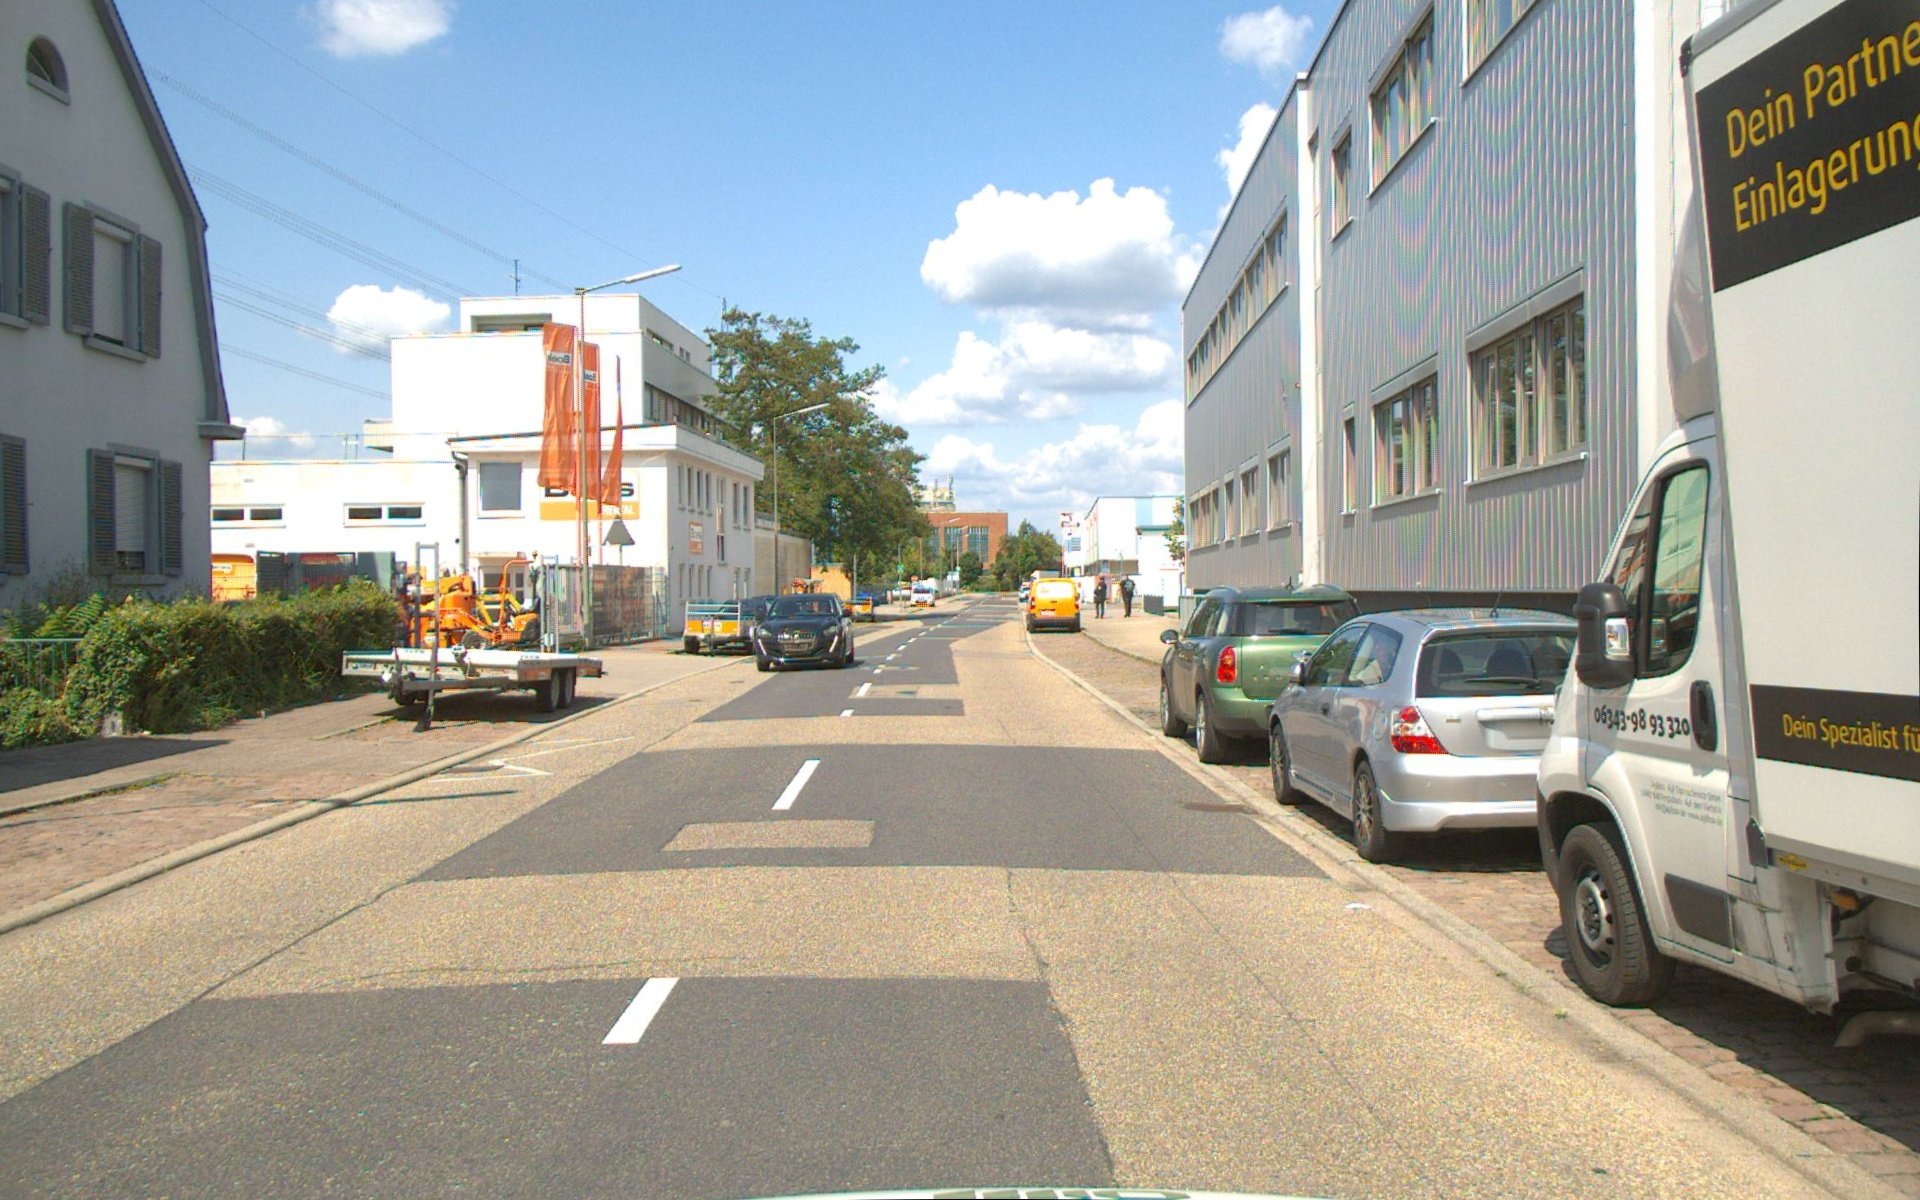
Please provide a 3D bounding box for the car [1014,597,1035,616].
[{"bbox_3d":[6.287,0.614,161.411,1.899,1.772,4.377,-2,0,2],"label":"car"}]

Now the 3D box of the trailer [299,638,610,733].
[{"bbox_3d":[-6.167,1.006,21.060,2.314,0.908,5.568,1,0,-1],"label":"trailer"}]

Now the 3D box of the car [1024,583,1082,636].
[{"bbox_3d":[3.234,0.329,58.369,1.899,1.772,4.377,-2,0,2],"label":"car"}]

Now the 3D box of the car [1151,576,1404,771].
[{"bbox_3d":[2.957,0.636,16.180,1.732,1.640,3.873,-1,0,0],"label":"car"}]

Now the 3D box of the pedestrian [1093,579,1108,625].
[{"bbox_3d":[6.211,0.089,73.268,0.577,2.049,0.618,-1,0,-1],"label":"pedestrian"}]

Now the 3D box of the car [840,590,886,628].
[{"bbox_3d":[-4.725,0.435,80.840,1.882,1.825,4.001,0,0,2],"label":"car"}]

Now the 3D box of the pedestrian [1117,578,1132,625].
[{"bbox_3d":[7.360,0.075,73.974,0.577,2.087,0.701,-1,0,-1],"label":"pedestrian"}]

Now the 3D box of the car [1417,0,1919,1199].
[{"bbox_3d":[3.461,-0.294,3.921,2.342,3.421,6.640,-4,0,-4],"label":"car"}]

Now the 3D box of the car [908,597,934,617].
[{"bbox_3d":[-3.164,0.592,134.799,1.772,1.591,4.001,0,0,3],"label":"car"}]

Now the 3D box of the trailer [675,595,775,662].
[{"bbox_3d":[-5.920,0.679,42.127,1.953,1.584,4.253,-1,0,-1],"label":"trailer"}]

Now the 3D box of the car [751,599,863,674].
[{"bbox_3d":[-2.922,0.678,32.233,1.879,1.307,3.614,-2,0,-1],"label":"car"}]

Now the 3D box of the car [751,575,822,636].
[{"bbox_3d":[-5.999,0.185,57.644,1.952,2.049,4.001,0,0,1],"label":"car"}]

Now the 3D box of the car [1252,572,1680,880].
[{"bbox_3d":[3.078,0.666,10.918,1.535,1.601,4.069,-2,0,0],"label":"car"}]
